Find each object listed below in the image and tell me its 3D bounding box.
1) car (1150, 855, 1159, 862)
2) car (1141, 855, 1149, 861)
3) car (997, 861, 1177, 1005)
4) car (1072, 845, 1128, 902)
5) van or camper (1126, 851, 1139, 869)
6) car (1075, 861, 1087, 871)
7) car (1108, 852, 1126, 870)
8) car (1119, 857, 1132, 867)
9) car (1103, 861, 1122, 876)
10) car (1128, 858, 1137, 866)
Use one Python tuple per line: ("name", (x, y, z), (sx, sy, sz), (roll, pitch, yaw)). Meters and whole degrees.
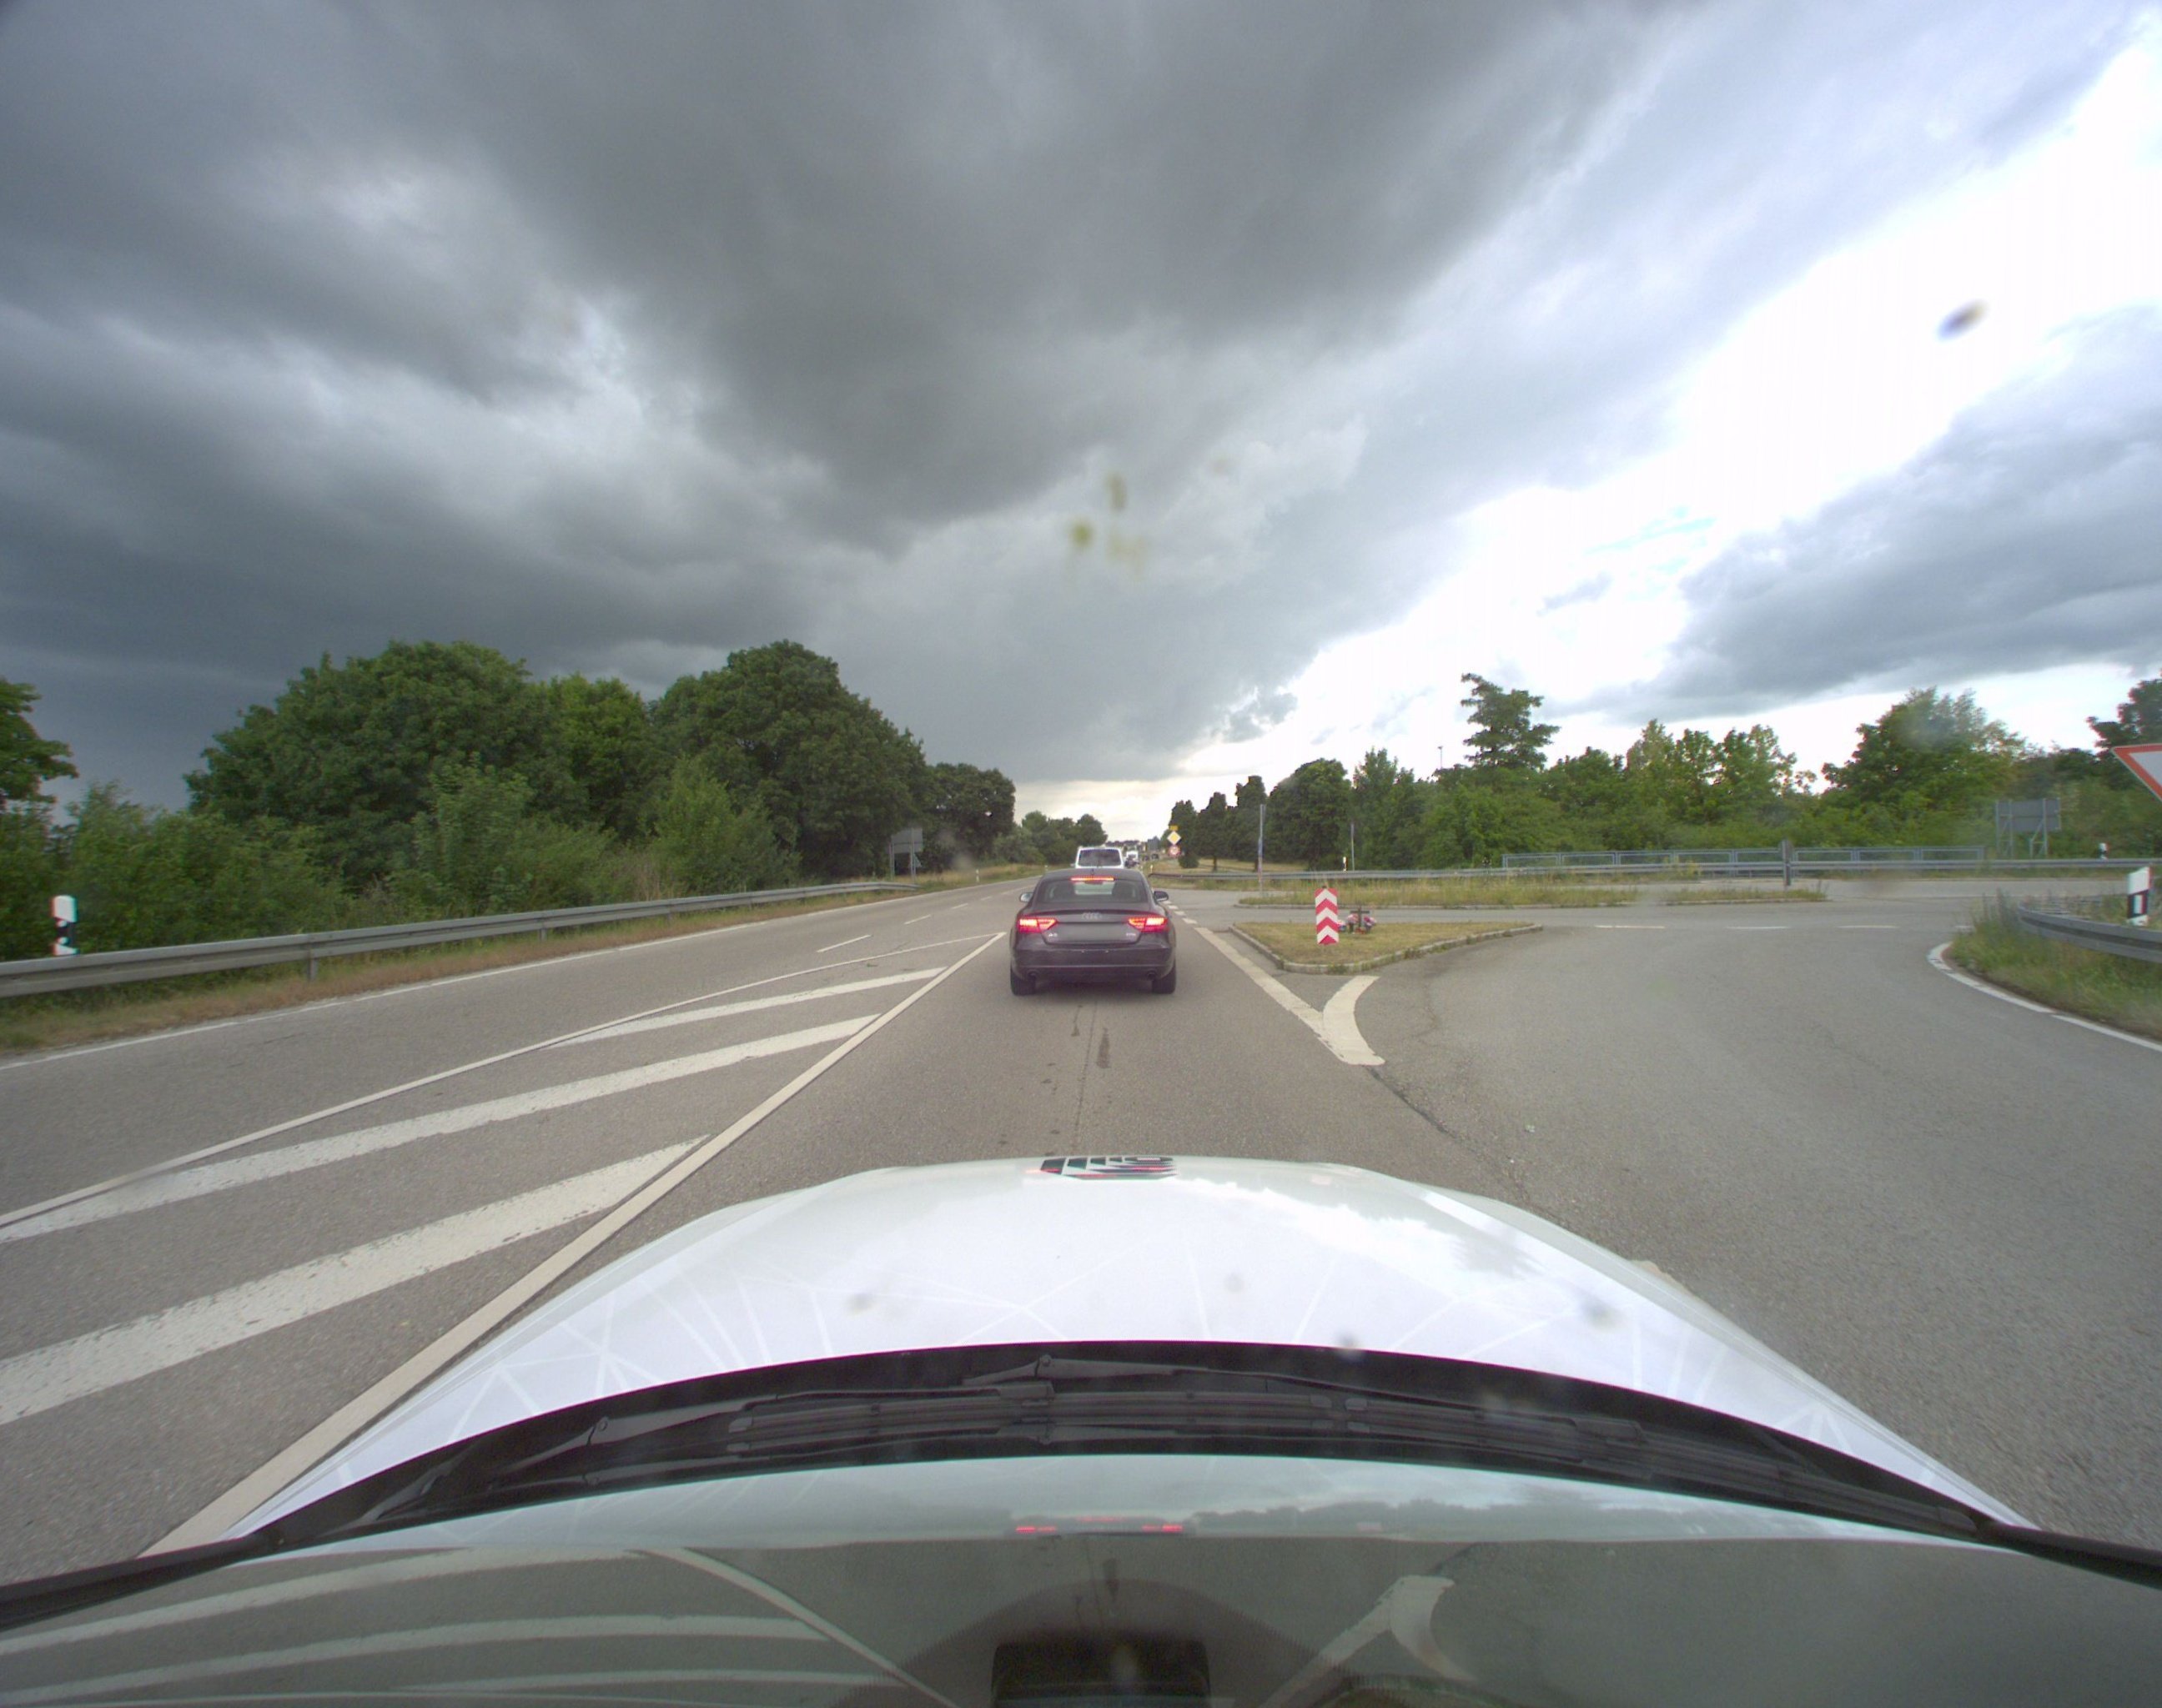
("car", (20.275, 1.212, 224.989), (1.986, 2.014, 4.001), (-1, 0, 1))
("car", (15.540, 1.006, 198.155), (1.712, 1.451, 4.003), (0, 0, 3))
("car", (0.121, 0.802, 10.071), (1.776, 1.376, 4.002), (0, 0, 2))
("car", (0.690, 0.657, 29.006), (1.832, 1.882, 4.002), (0, 0, 2))
("van or camper", (10.210, 1.153, 160.734), (2.330, 3.481, 5.724), (-1, -1, 4))
("car", (0.014, 1.771, 120.223), (1.704, 1.523, 4.002), (-1, 0, 2))
("car", (4.421, 0.864, 99.762), (1.984, 2.088, 4.005), (-1, -1, 5))
("car", (7.057, 1.197, 129.735), (1.726, 1.514, 3.754), (-1, -1, 8))
("car", (3.349, 1.534, 85.158), (1.787, 1.464, 3.253), (-1, -1, 5))
("car", (9.011, 1.308, 142.579), (1.251, 1.353, 3.473), (-1, -1, 8))
